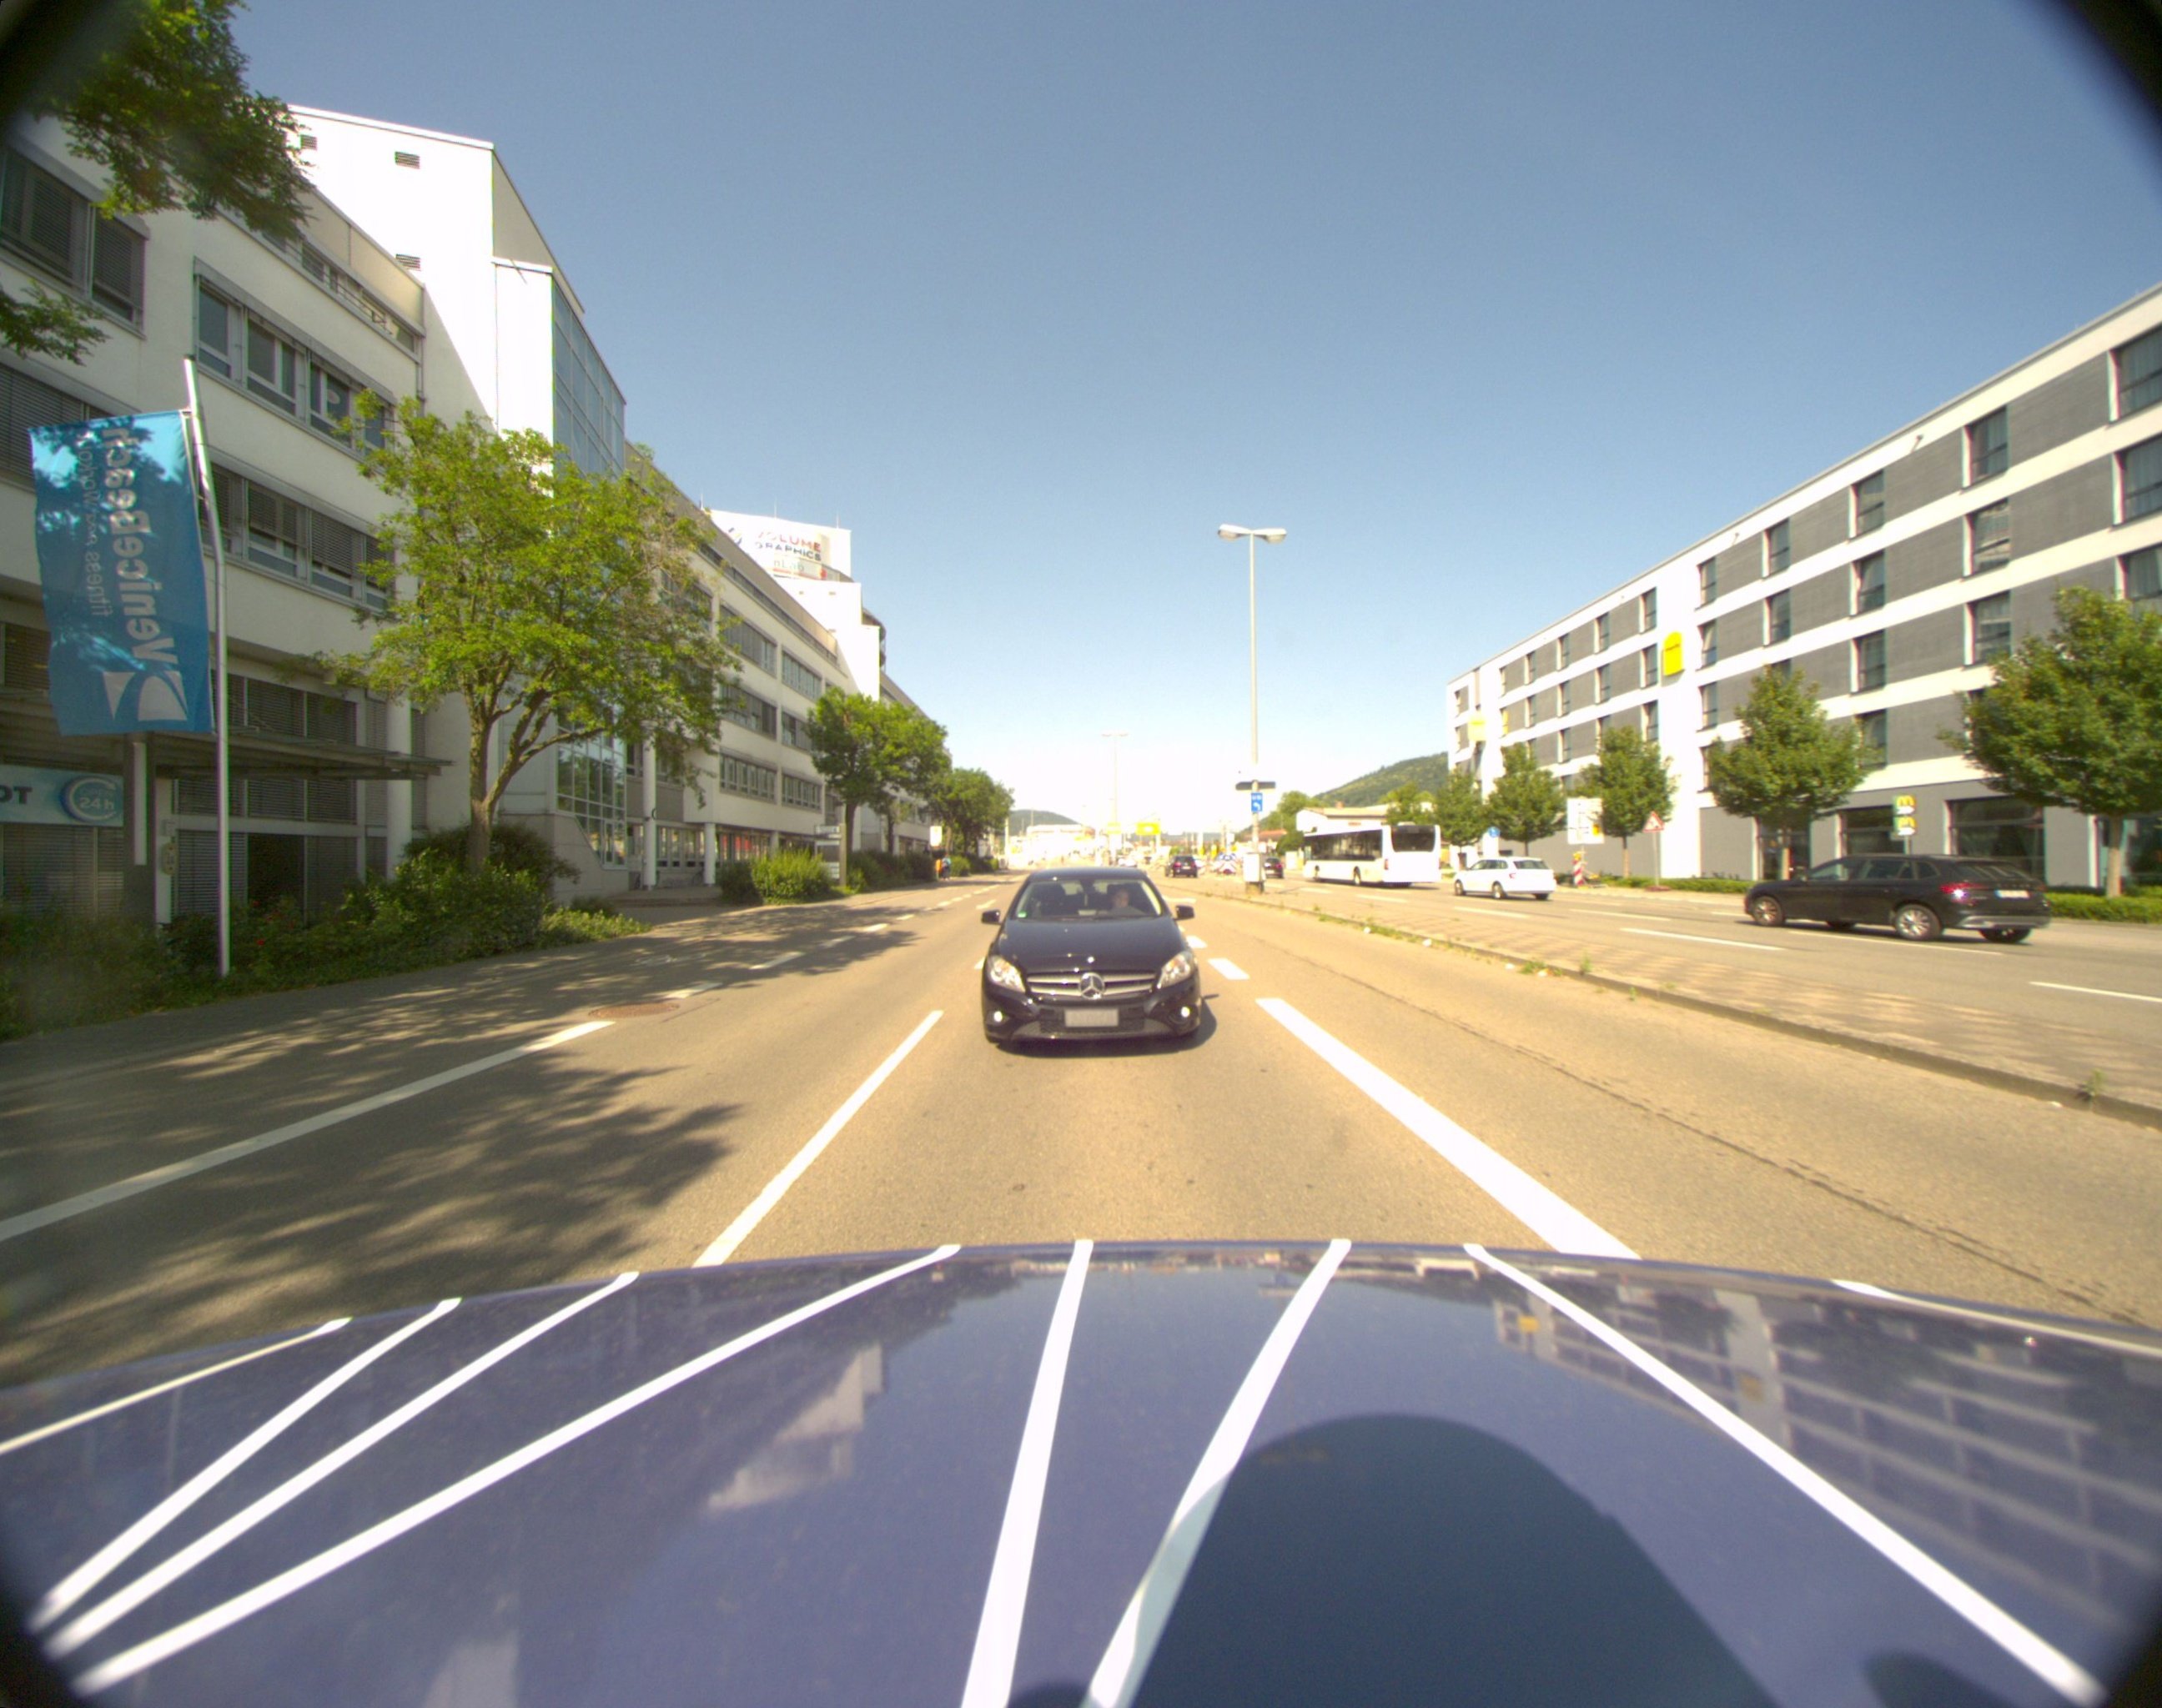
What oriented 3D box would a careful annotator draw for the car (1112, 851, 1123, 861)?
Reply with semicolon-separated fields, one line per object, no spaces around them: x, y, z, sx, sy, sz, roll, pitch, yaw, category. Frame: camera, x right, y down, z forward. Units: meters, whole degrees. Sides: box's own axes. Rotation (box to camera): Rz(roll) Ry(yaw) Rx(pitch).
7.790;0.472;162.427;1.998;2.002;3.999;-2;1;1;car

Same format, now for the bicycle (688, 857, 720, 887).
-17.721;0.813;35.731;0.506;1.346;1.884;-1;0;1;bicycle

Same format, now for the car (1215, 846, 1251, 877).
10.730;0.482;53.773;1.679;2.002;4.164;-2;1;1;car

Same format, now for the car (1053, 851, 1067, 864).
-3.639;0.628;132.931;1.998;2.002;4.000;-2;1;2;car

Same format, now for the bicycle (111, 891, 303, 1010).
-11.284;1.186;9.913;0.506;1.321;1.883;0;0;-8;bicycle

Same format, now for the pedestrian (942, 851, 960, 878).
-9.208;0.744;53.907;0.942;1.875;1.289;2;1;0;pedestrian

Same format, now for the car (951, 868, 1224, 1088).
0.071;0.918;7.692;1.905;1.431;4.693;-1;0;1;car

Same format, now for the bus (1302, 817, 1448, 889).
14.558;-0.071;39.083;2.745;3.061;11.974;1;0;0;bus

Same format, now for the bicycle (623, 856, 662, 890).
-18.062;0.765;31.333;0.506;1.346;1.884;-1;0;1;bicycle

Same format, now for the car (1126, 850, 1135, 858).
12.544;0.101;192.587;1.999;2.002;3.999;0;0;-1;car

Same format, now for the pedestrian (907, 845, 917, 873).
-14.947;0.441;67.308;0.717;2.534;0.716;-1;1;-1;pedestrian

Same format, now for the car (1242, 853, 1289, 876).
12.691;0.686;52.534;1.998;1.424;4.890;-1;0;0;car

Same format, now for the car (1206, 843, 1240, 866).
13.840;0.113;74.223;1.999;2.001;3.999;-4;-1;-6;car

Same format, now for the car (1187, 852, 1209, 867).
13.768;0.646;89.739;1.719;1.609;3.590;-1;0;-5;car

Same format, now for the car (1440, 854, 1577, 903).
14.790;0.784;26.611;1.999;1.477;4.410;2;1;-5;car

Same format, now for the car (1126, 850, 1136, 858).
10.806;-0.008;163.835;1.998;1.702;4.892;0;-1;1;car

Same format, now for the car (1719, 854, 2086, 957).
15.111;0.845;14.450;1.999;1.568;4.410;2;0;-5;car

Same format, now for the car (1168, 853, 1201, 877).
7.094;0.728;52.379;1.890;1.608;4.135;-1;0;2;car
